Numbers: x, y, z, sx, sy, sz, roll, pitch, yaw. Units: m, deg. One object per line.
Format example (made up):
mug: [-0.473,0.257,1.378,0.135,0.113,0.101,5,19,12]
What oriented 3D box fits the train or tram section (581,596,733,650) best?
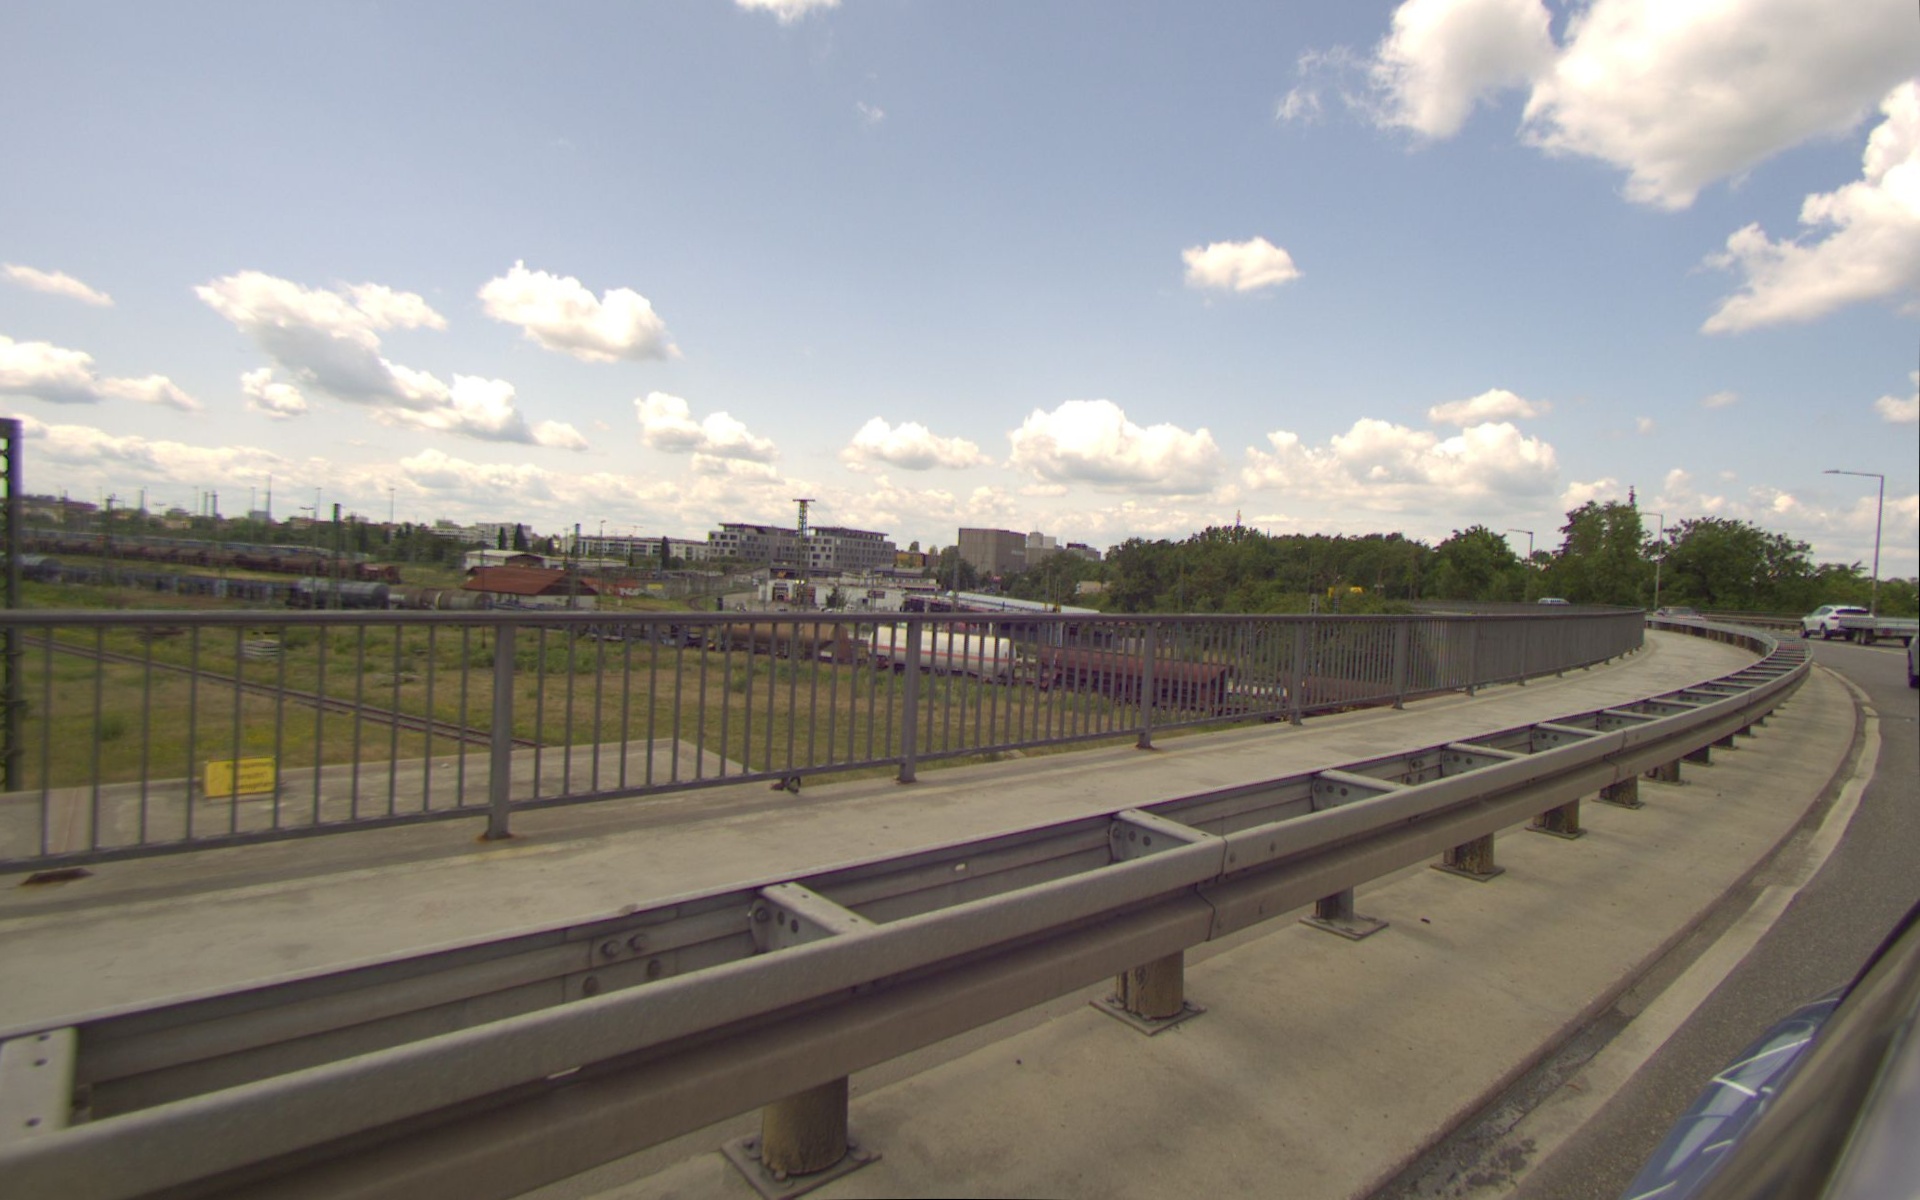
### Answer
train or tram section: [-30.646,2.166,101.635,17.536,4.202,3.183,3,4,28]

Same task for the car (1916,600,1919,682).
car: [18.032,0.780,17.548,1.820,1.544,3.943,0,0,39]

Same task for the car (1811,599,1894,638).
car: [38.237,0.736,43.445,1.797,1.554,4.303,1,1,30]

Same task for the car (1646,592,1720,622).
car: [38.418,0.330,53.868,1.803,1.354,3.982,3,2,15]

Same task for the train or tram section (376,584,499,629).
train or tram section: [-59.828,0.660,115.724,15.788,4.202,3.190,3,4,23]

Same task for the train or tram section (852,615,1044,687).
train or tram section: [-1.305,3.983,82.944,16.848,4.202,3.181,4,5,34]

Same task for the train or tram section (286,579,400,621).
train or tram section: [-74.436,-0.084,121.944,15.789,4.202,3.189,3,4,24]

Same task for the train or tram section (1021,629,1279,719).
train or tram section: [13.042,4.964,72.524,18.803,4.201,3.178,4,5,38]

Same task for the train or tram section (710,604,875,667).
train or tram section: [-15.628,3.060,92.572,17.576,4.202,3.176,4,5,34]

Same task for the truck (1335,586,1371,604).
truck: [49.379,-0.666,127.267,1.961,2.038,6.150,2,2,-2]

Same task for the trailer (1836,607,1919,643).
trailer: [35.770,0.940,38.930,2.035,1.224,5.918,1,1,30]

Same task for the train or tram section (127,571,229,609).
train or tram section: [-103.694,-1.397,134.147,15.782,4.202,3.191,3,4,22]

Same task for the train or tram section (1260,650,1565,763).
train or tram section: [26.534,6.038,60.915,16.560,4.201,3.092,5,5,44]

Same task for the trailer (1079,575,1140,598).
trailer: [29.175,-2.698,198.493,2.663,4.333,14.233,0,1,-35]

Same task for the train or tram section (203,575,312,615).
train or tram section: [-89.034,-0.722,128.115,15.780,4.202,3.191,3,4,22]

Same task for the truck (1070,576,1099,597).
truck: [25.097,-2.766,204.391,2.717,4.186,5.654,0,1,-35]

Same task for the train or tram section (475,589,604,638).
train or tram section: [-45.446,1.357,109.168,15.805,4.202,3.186,3,4,26]
